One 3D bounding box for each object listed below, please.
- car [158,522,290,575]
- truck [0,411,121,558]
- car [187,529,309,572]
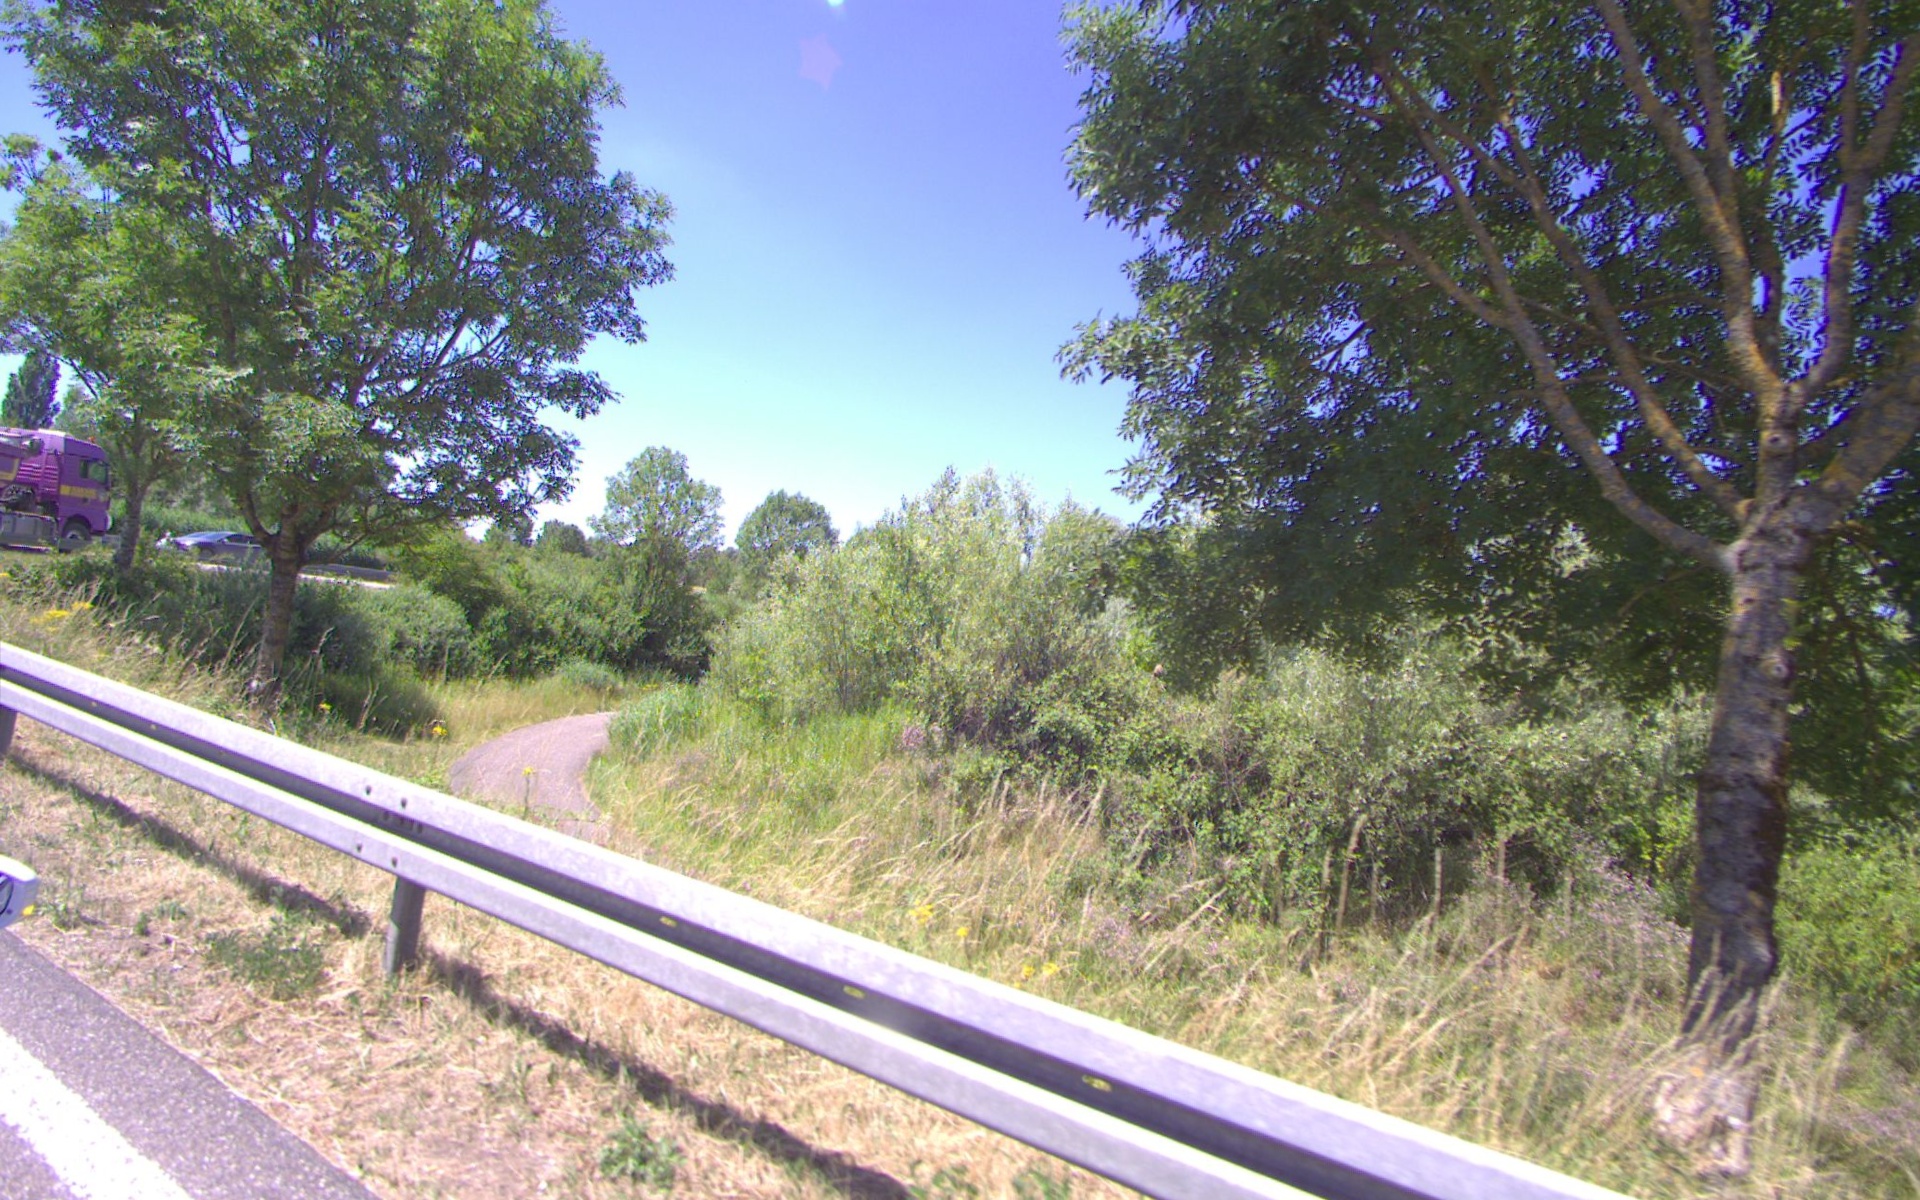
[{"bbox_3d":[-32.761,-2.255,44.907,1.898,1.650,4.240,7,-2,23],"label":"car"},{"bbox_3d":[-28.309,-3.523,27.821,2.799,3.866,11.852,8,-2,-15],"label":"truck"},{"bbox_3d":[-34.604,-2.378,49.053,1.963,1.414,4.408,7,-2,23],"label":"car"}]
